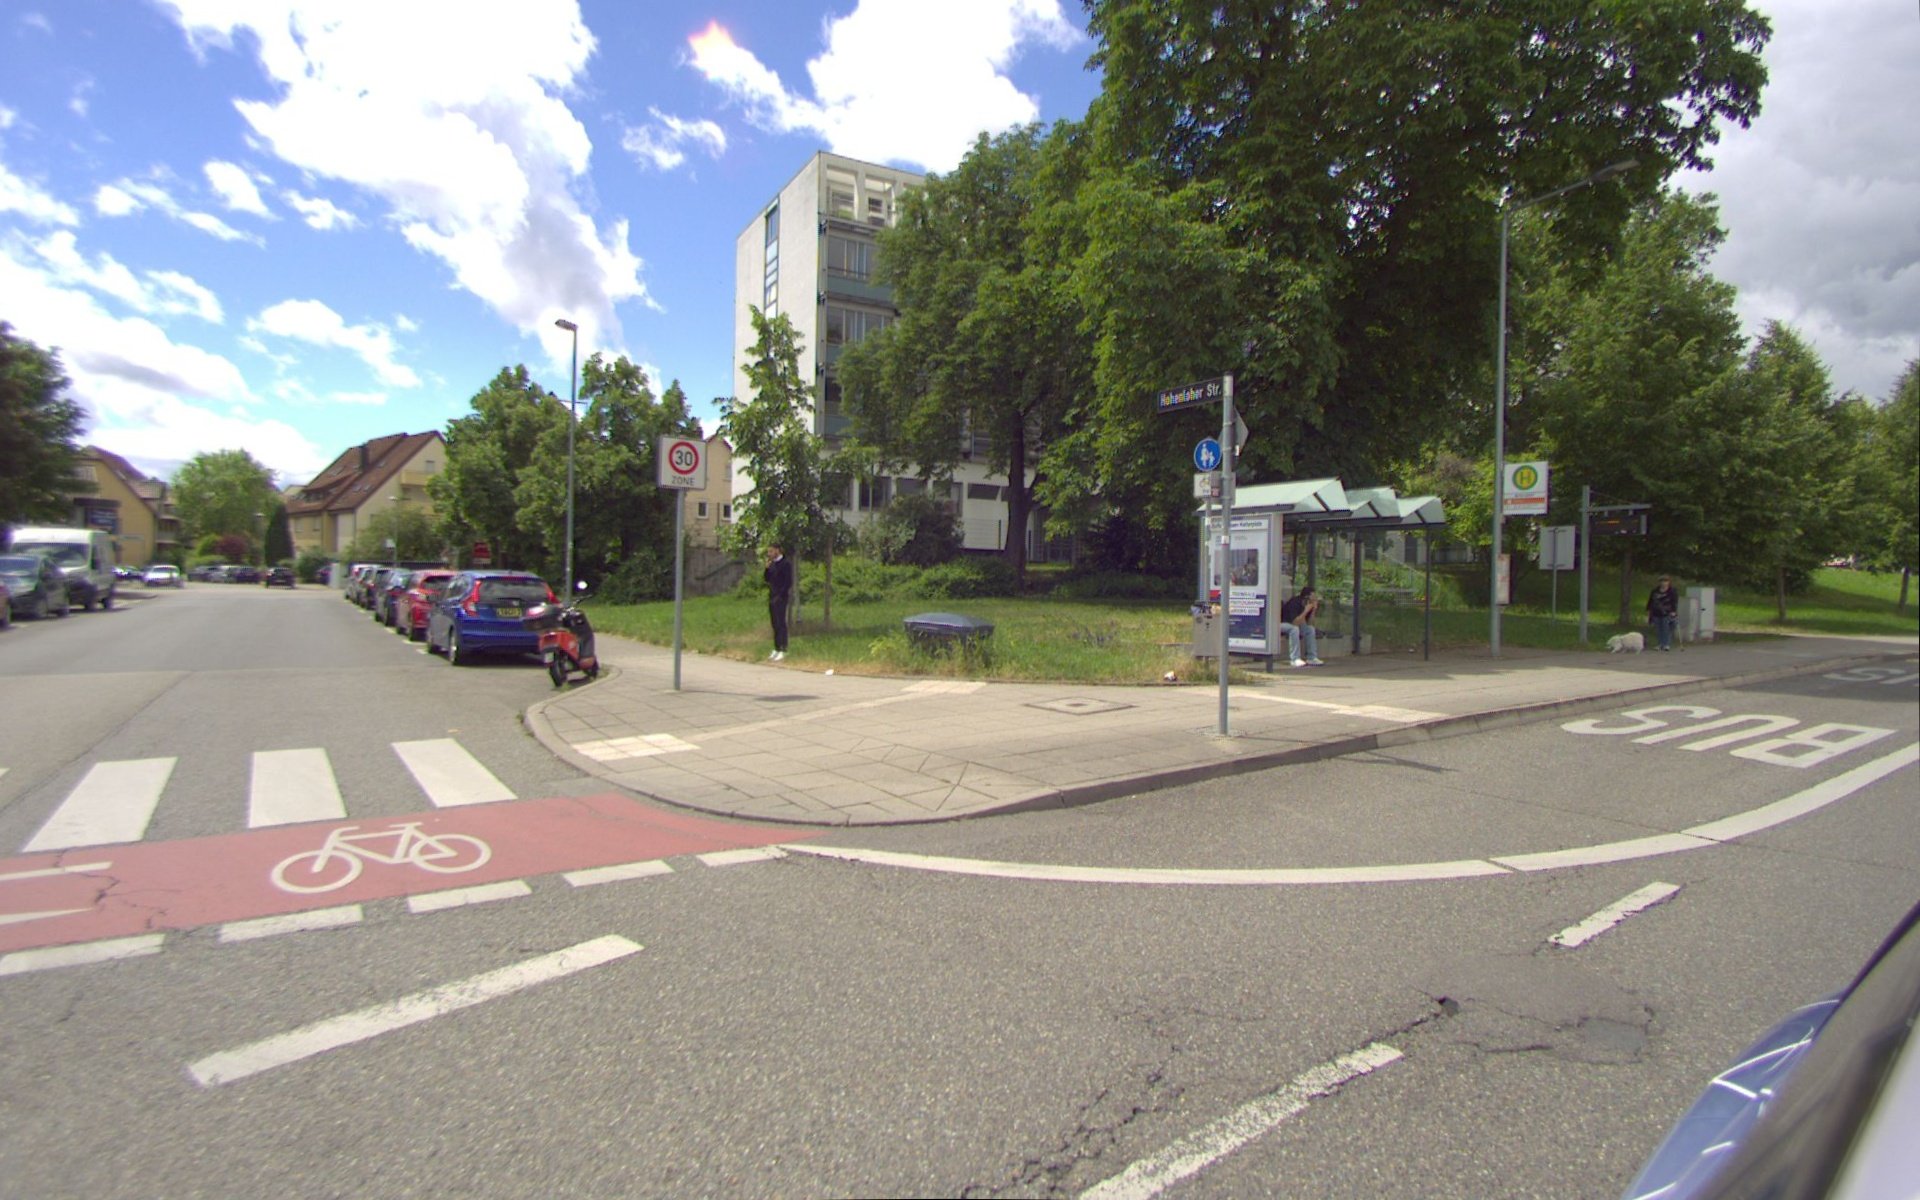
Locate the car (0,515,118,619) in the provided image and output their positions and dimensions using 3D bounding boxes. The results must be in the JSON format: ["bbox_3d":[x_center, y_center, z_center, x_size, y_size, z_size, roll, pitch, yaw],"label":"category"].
[{"bbox_3d":[-27.690,-0.987,31.017,2.161,2.902,5.599,0,1,-32],"label":"car"}]

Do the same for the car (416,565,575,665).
[{"bbox_3d":[-8.117,0.191,17.494,1.860,1.475,3.807,1,1,-34],"label":"car"}]

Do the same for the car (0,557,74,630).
[{"bbox_3d":[-24.147,-0.200,25.627,1.871,1.745,4.004,0,1,-31],"label":"car"}]

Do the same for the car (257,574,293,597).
[{"bbox_3d":[-47.773,-1.038,70.532,1.962,1.579,4.092,0,1,-35],"label":"car"}]

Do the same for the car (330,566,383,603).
[{"bbox_3d":[-27.615,-0.724,46.280,1.758,1.610,4.000,0,1,-35],"label":"car"}]

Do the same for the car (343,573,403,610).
[{"bbox_3d":[-24.031,-0.341,41.344,1.813,1.382,4.001,1,0,-34],"label":"car"}]

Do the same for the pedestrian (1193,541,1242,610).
[{"bbox_3d":[6.791,-0.647,26.714,0.840,1.782,0.991,-1,1,-22],"label":"pedestrian"}]

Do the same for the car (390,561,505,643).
[{"bbox_3d":[-11.474,0.039,22.550,1.794,1.664,3.699,2,0,-34],"label":"car"}]

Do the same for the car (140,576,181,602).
[{"bbox_3d":[-50.438,-0.726,63.823,1.964,1.579,4.088,0,1,-39],"label":"car"}]

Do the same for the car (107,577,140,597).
[{"bbox_3d":[-70.574,-1.097,85.336,1.966,1.579,4.084,0,1,-42],"label":"car"}]

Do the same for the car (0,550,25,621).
[{"bbox_3d":[-21.386,-0.336,21.224,1.961,1.521,4.096,1,1,-34],"label":"car"}]

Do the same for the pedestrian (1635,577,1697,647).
[{"bbox_3d":[14.992,0.245,21.495,0.814,1.442,0.823,-1,1,-32],"label":"pedestrian"}]

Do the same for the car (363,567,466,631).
[{"bbox_3d":[-14.838,-0.077,27.427,1.962,1.579,4.092,0,1,-35],"label":"car"}]

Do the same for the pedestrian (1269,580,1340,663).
[{"bbox_3d":[5.482,0.329,16.112,0.672,1.274,0.831,0,1,-29],"label":"pedestrian"}]

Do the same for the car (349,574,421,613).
[{"bbox_3d":[-20.820,-0.267,36.572,1.834,1.303,3.999,0,1,-36],"label":"car"}]

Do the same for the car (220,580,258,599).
[{"bbox_3d":[-60.500,-0.891,84.887,1.967,1.579,4.081,0,1,-44],"label":"car"}]

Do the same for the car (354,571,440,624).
[{"bbox_3d":[-17.921,-0.127,32.122,1.962,1.579,4.092,0,1,-35],"label":"car"}]
